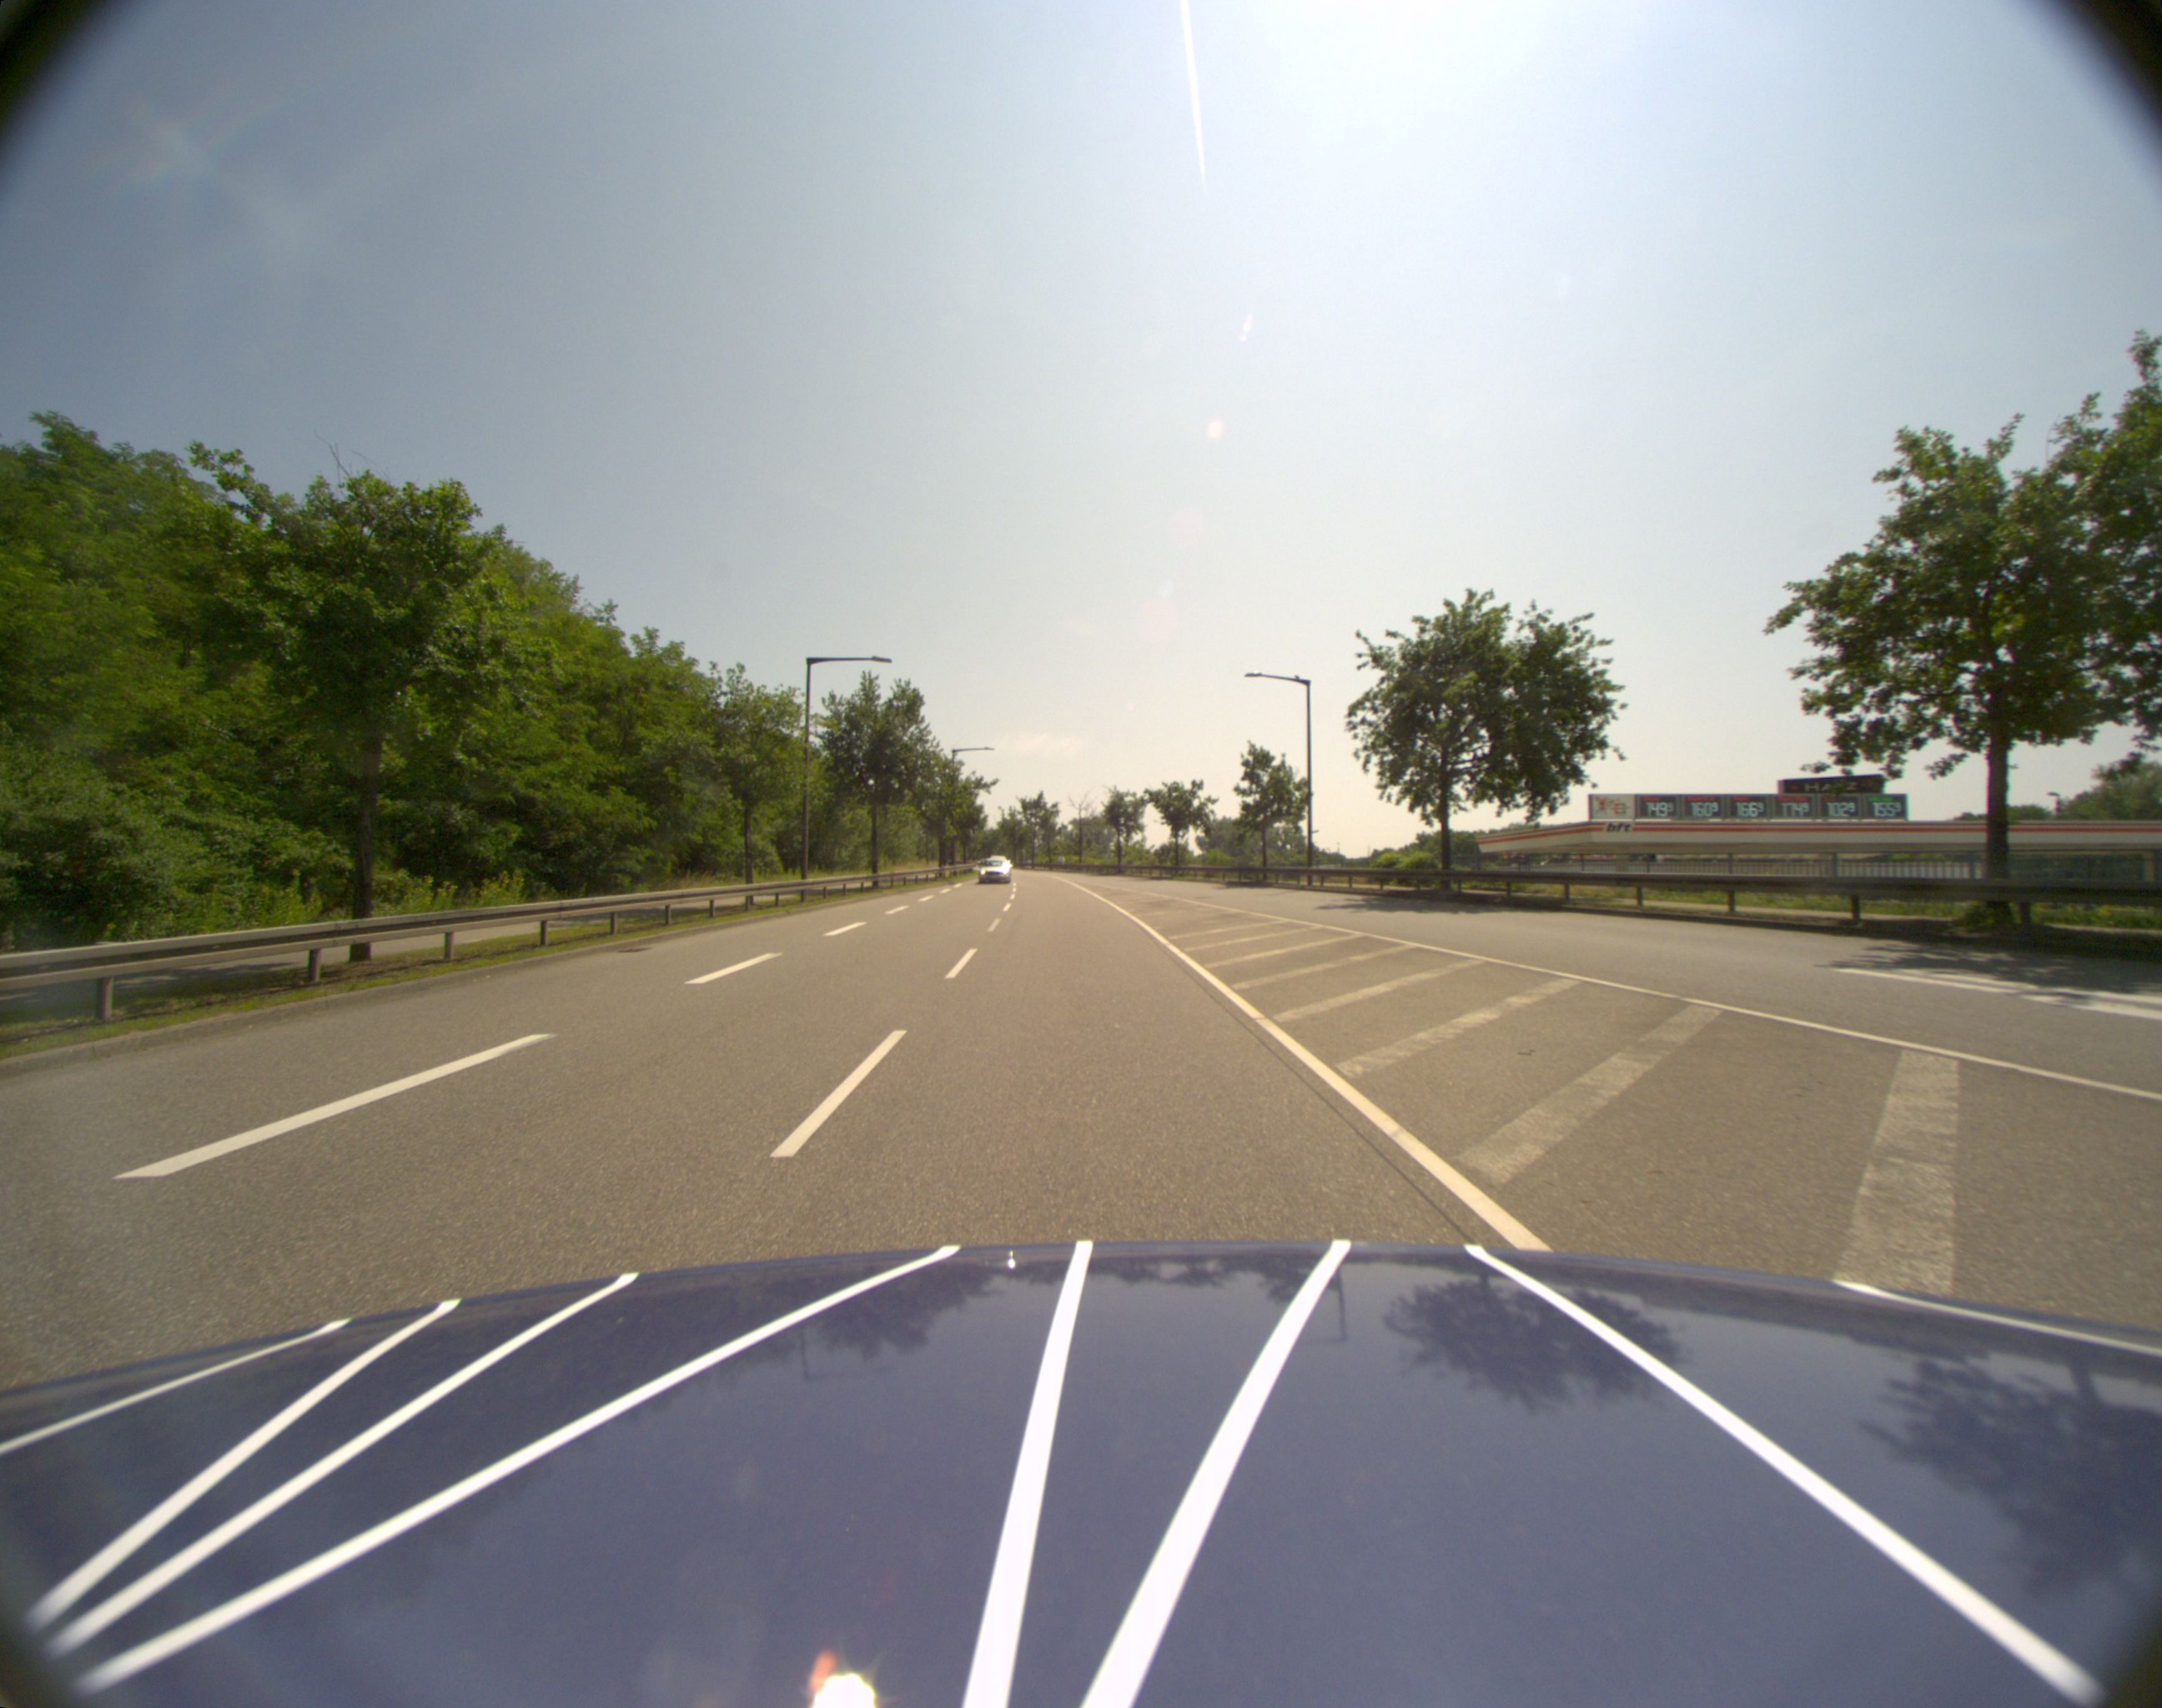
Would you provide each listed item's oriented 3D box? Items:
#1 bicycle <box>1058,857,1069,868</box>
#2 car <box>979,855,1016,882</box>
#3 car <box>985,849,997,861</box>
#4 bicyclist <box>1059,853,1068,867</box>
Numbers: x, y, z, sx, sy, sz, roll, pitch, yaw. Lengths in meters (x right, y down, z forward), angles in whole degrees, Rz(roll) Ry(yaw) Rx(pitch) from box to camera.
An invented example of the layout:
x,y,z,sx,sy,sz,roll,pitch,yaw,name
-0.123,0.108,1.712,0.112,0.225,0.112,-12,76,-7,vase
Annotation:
x,y,z,sx,sy,sz,roll,pitch,yaw,name
-2.000,0.983,86.208,0.737,1.110,2.043,4,0,-14,bicycle
-4.774,0.802,43.990,1.763,1.490,4.232,0,0,-1,car
-14.649,0.214,123.387,1.813,1.748,4.250,3,-1,-7,car
-1.978,0.683,86.212,0.732,1.457,0.823,4,0,-14,bicyclist
